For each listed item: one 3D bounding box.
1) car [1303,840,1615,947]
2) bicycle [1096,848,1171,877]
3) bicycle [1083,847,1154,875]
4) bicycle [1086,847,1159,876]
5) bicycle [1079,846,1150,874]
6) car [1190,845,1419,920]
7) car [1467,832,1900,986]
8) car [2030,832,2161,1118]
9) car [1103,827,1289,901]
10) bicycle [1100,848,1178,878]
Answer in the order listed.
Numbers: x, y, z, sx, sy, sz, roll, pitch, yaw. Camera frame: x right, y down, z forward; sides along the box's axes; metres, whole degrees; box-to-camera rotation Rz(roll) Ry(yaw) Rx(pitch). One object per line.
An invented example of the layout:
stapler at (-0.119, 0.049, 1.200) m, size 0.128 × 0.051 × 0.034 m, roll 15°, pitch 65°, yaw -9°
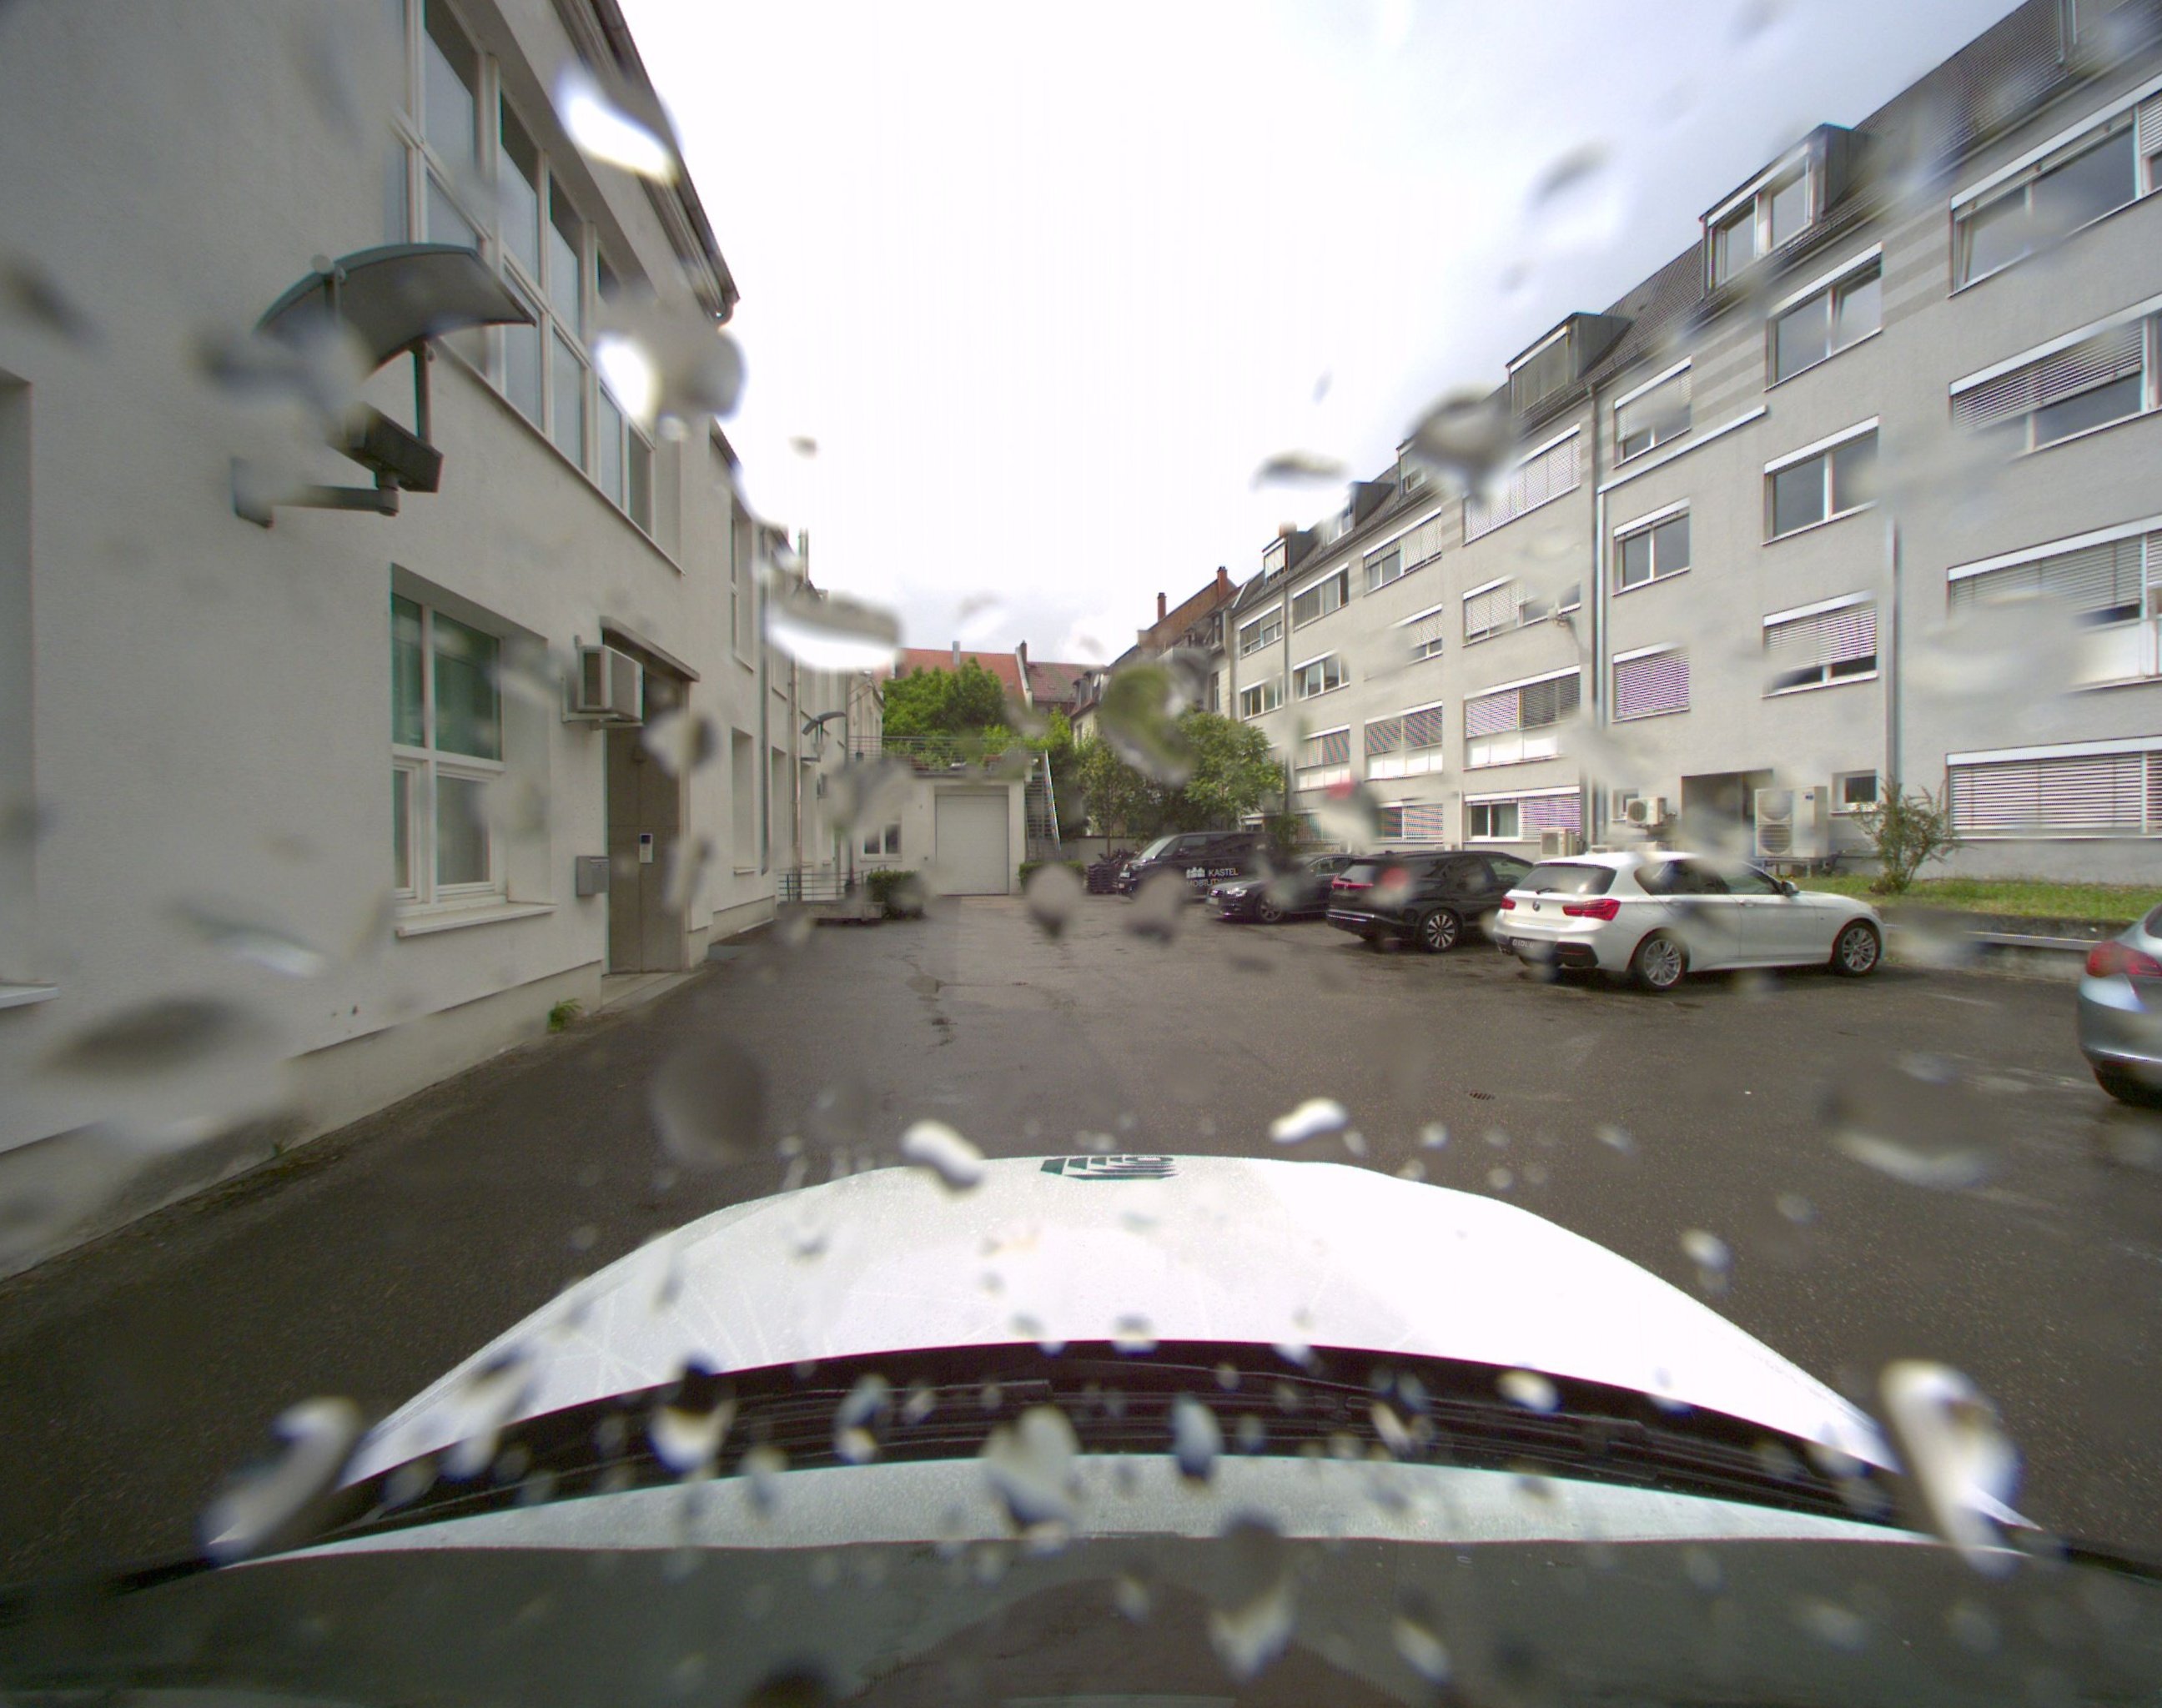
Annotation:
car at (5.837, 0.531, 12.730) m, size 4.178 × 1.401 × 1.929 m, roll -1°, pitch 0°, yaw -16°
bicycle at (2.043, 0.323, 31.982) m, size 2.845 × 1.078 × 0.687 m, roll 1°, pitch 1°, yaw -12°
bicycle at (1.536, 0.275, 33.338) m, size 2.845 × 1.078 × 0.687 m, roll 1°, pitch 1°, yaw -12°
bicycle at (1.668, 0.297, 32.639) m, size 2.845 × 1.078 × 0.687 m, roll 1°, pitch 1°, yaw -12°
bicycle at (1.404, 0.255, 34.031) m, size 2.845 × 1.078 × 0.687 m, roll 1°, pitch 1°, yaw -12°
car at (4.690, 0.534, 17.205) m, size 4.362 × 1.348 × 1.851 m, roll -1°, pitch 1°, yaw -16°
car at (6.876, 0.526, 9.441) m, size 4.102 × 1.455 × 1.825 m, roll -1°, pitch 1°, yaw -13°
car at (7.563, 0.578, 4.263) m, size 4.083 × 1.458 × 1.661 m, roll -1°, pitch 0°, yaw -13°
car at (3.180, 0.233, 22.832) m, size 4.718 × 1.833 × 2.100 m, roll -2°, pitch 1°, yaw -16°
bicycle at (2.224, 0.348, 31.227) m, size 2.925 × 1.078 × 0.687 m, roll 1°, pitch 1°, yaw -12°
